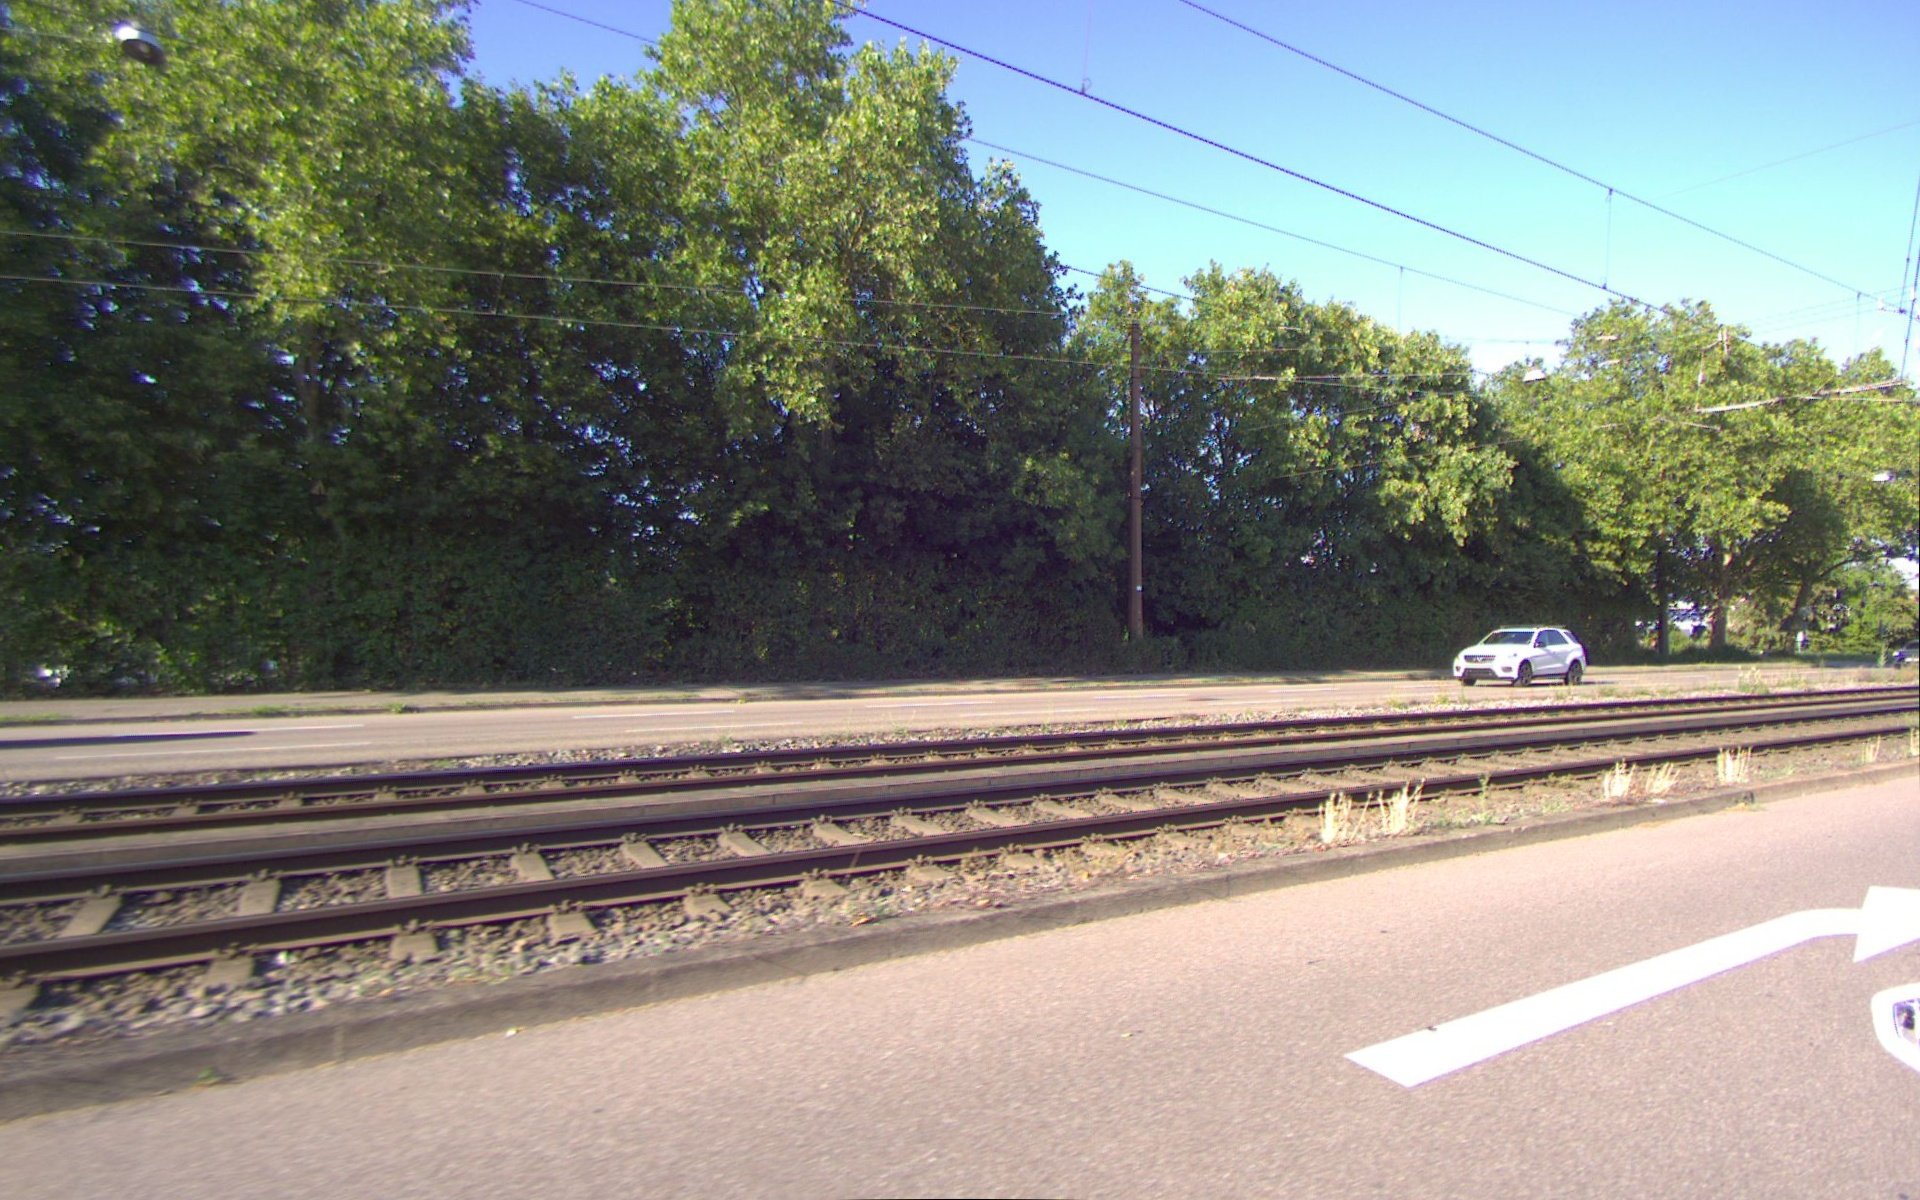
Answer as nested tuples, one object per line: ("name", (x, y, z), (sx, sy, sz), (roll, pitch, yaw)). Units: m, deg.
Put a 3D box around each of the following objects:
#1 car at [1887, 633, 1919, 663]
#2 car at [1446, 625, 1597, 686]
("car", (49.728, 2.477, 51.881), (4.301, 1.487, 1.701), (2, -4, -33))
("car", (17.099, 1.690, 30.520), (4.892, 1.729, 1.951), (2, -4, -34))
